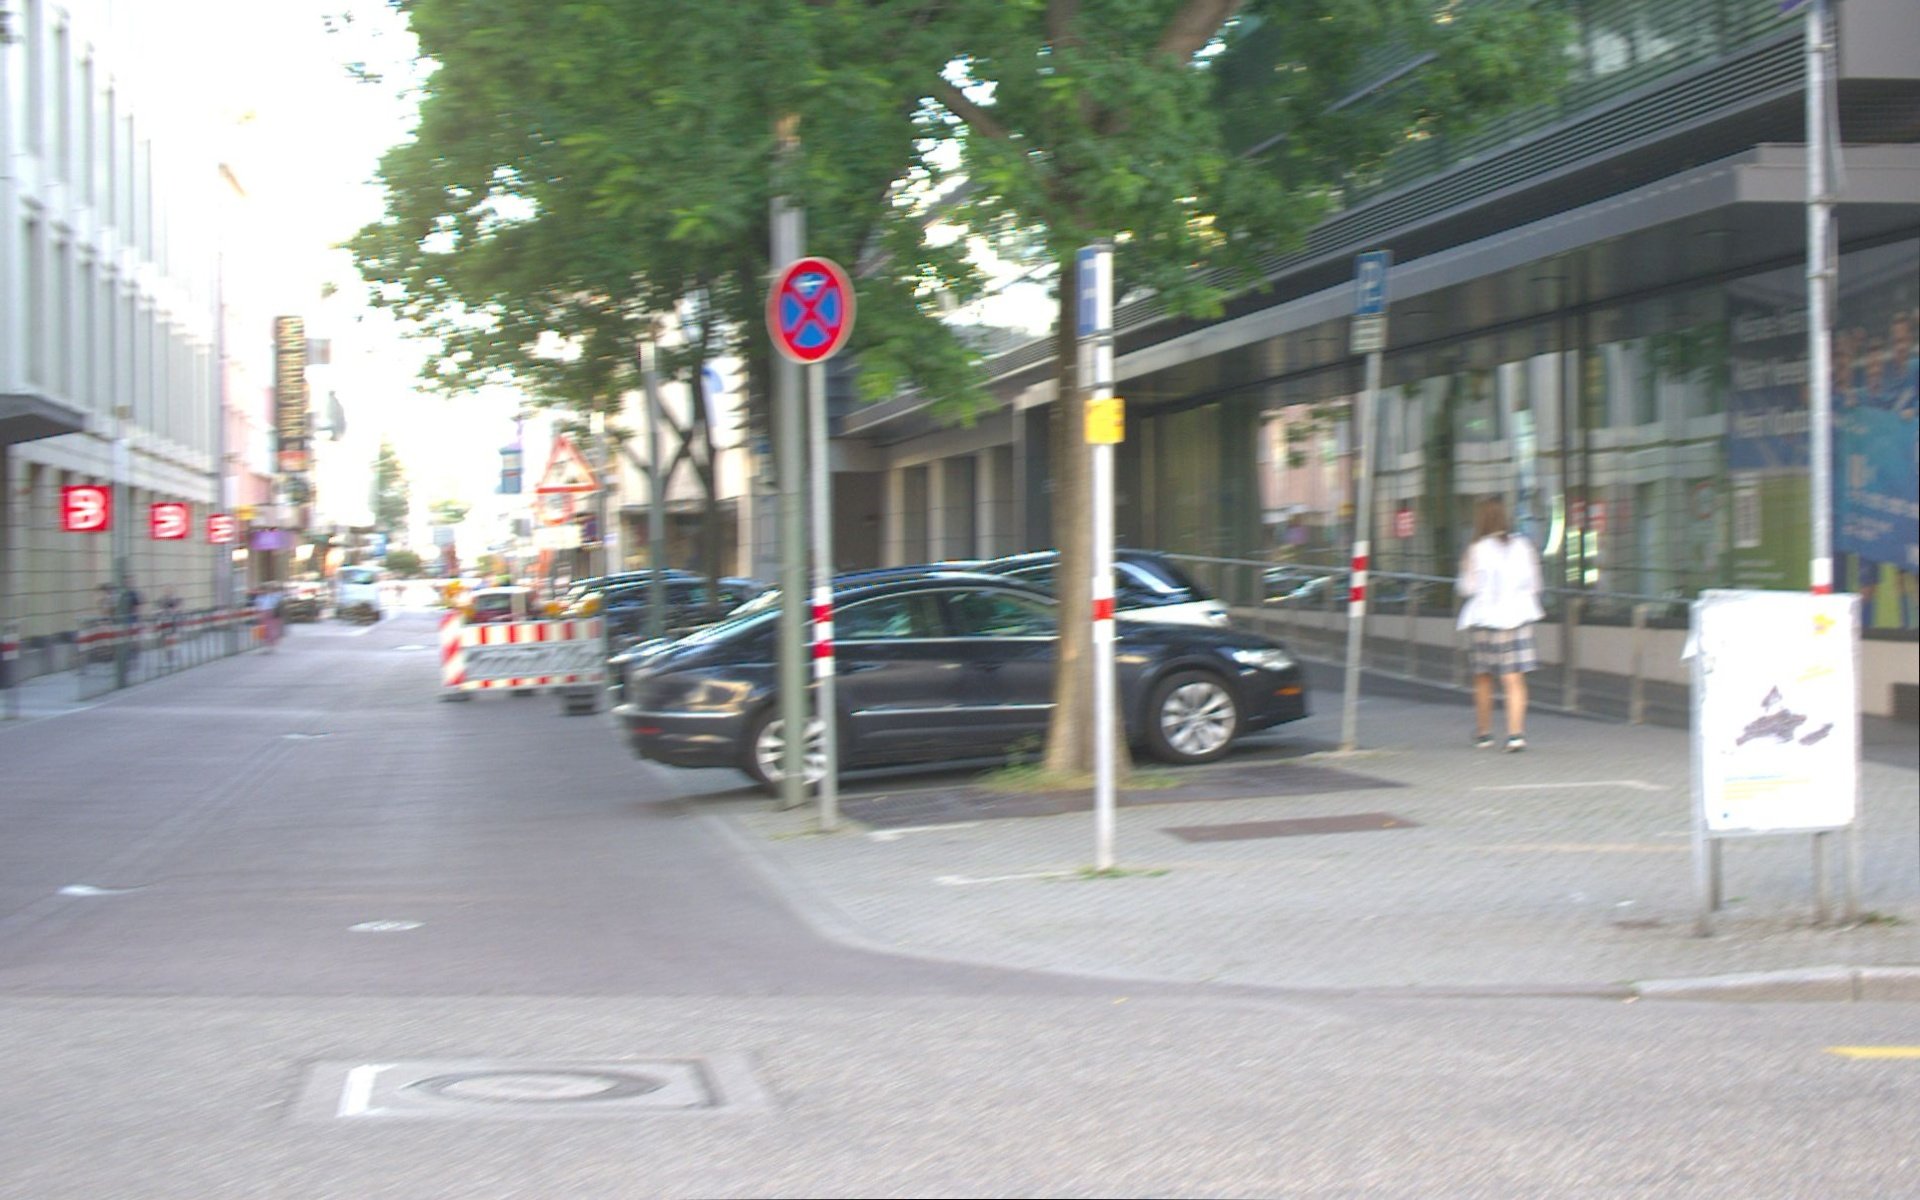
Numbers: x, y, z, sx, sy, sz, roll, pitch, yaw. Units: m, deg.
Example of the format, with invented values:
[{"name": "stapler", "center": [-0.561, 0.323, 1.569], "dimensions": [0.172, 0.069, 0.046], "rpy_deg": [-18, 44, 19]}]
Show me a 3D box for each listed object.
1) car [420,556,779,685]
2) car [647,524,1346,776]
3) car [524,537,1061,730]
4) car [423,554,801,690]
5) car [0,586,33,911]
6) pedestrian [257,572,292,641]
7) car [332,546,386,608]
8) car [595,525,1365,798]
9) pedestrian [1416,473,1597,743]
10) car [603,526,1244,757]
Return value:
[{"name": "car", "center": [-5.289, 0.285, 50.217], "dimensions": [5.003, 1.494, 2.000], "rpy_deg": [-4, 1, -10]}, {"name": "car", "center": [0.224, 0.356, 26.454], "dimensions": [5.003, 1.494, 2.000], "rpy_deg": [-4, 1, -10]}, {"name": "car", "center": [-1.700, 0.310, 34.008], "dimensions": [5.003, 1.494, 2.000], "rpy_deg": [-4, 1, -10]}, {"name": "car", "center": [-4.861, 0.288, 47.703], "dimensions": [5.003, 1.494, 2.000], "rpy_deg": [-4, 1, -10]}, {"name": "car", "center": [-5.100, 0.649, 14.105], "dimensions": [1.822, 1.460, 4.264], "rpy_deg": [0, -1, -6]}, {"name": "pedestrian", "center": [-15.765, 0.147, 79.033], "dimensions": [0.732, 1.568, 0.636], "rpy_deg": [0, 0, -7]}, {"name": "car", "center": [-23.491, -0.904, 134.304], "dimensions": [1.993, 2.321, 5.022], "rpy_deg": [1, 1, -10]}, {"name": "car", "center": [0.077, 0.392, 23.937], "dimensions": [5.003, 1.447, 2.000], "rpy_deg": [-4, 1, -10]}, {"name": "pedestrian", "center": [3.592, 0.049, 22.659], "dimensions": [0.905, 1.700, 0.834], "rpy_deg": [-3, 0, -6]}, {"name": "car", "center": [-0.357, 0.319, 28.674], "dimensions": [5.003, 1.494, 2.000], "rpy_deg": [-4, 1, -10]}]
